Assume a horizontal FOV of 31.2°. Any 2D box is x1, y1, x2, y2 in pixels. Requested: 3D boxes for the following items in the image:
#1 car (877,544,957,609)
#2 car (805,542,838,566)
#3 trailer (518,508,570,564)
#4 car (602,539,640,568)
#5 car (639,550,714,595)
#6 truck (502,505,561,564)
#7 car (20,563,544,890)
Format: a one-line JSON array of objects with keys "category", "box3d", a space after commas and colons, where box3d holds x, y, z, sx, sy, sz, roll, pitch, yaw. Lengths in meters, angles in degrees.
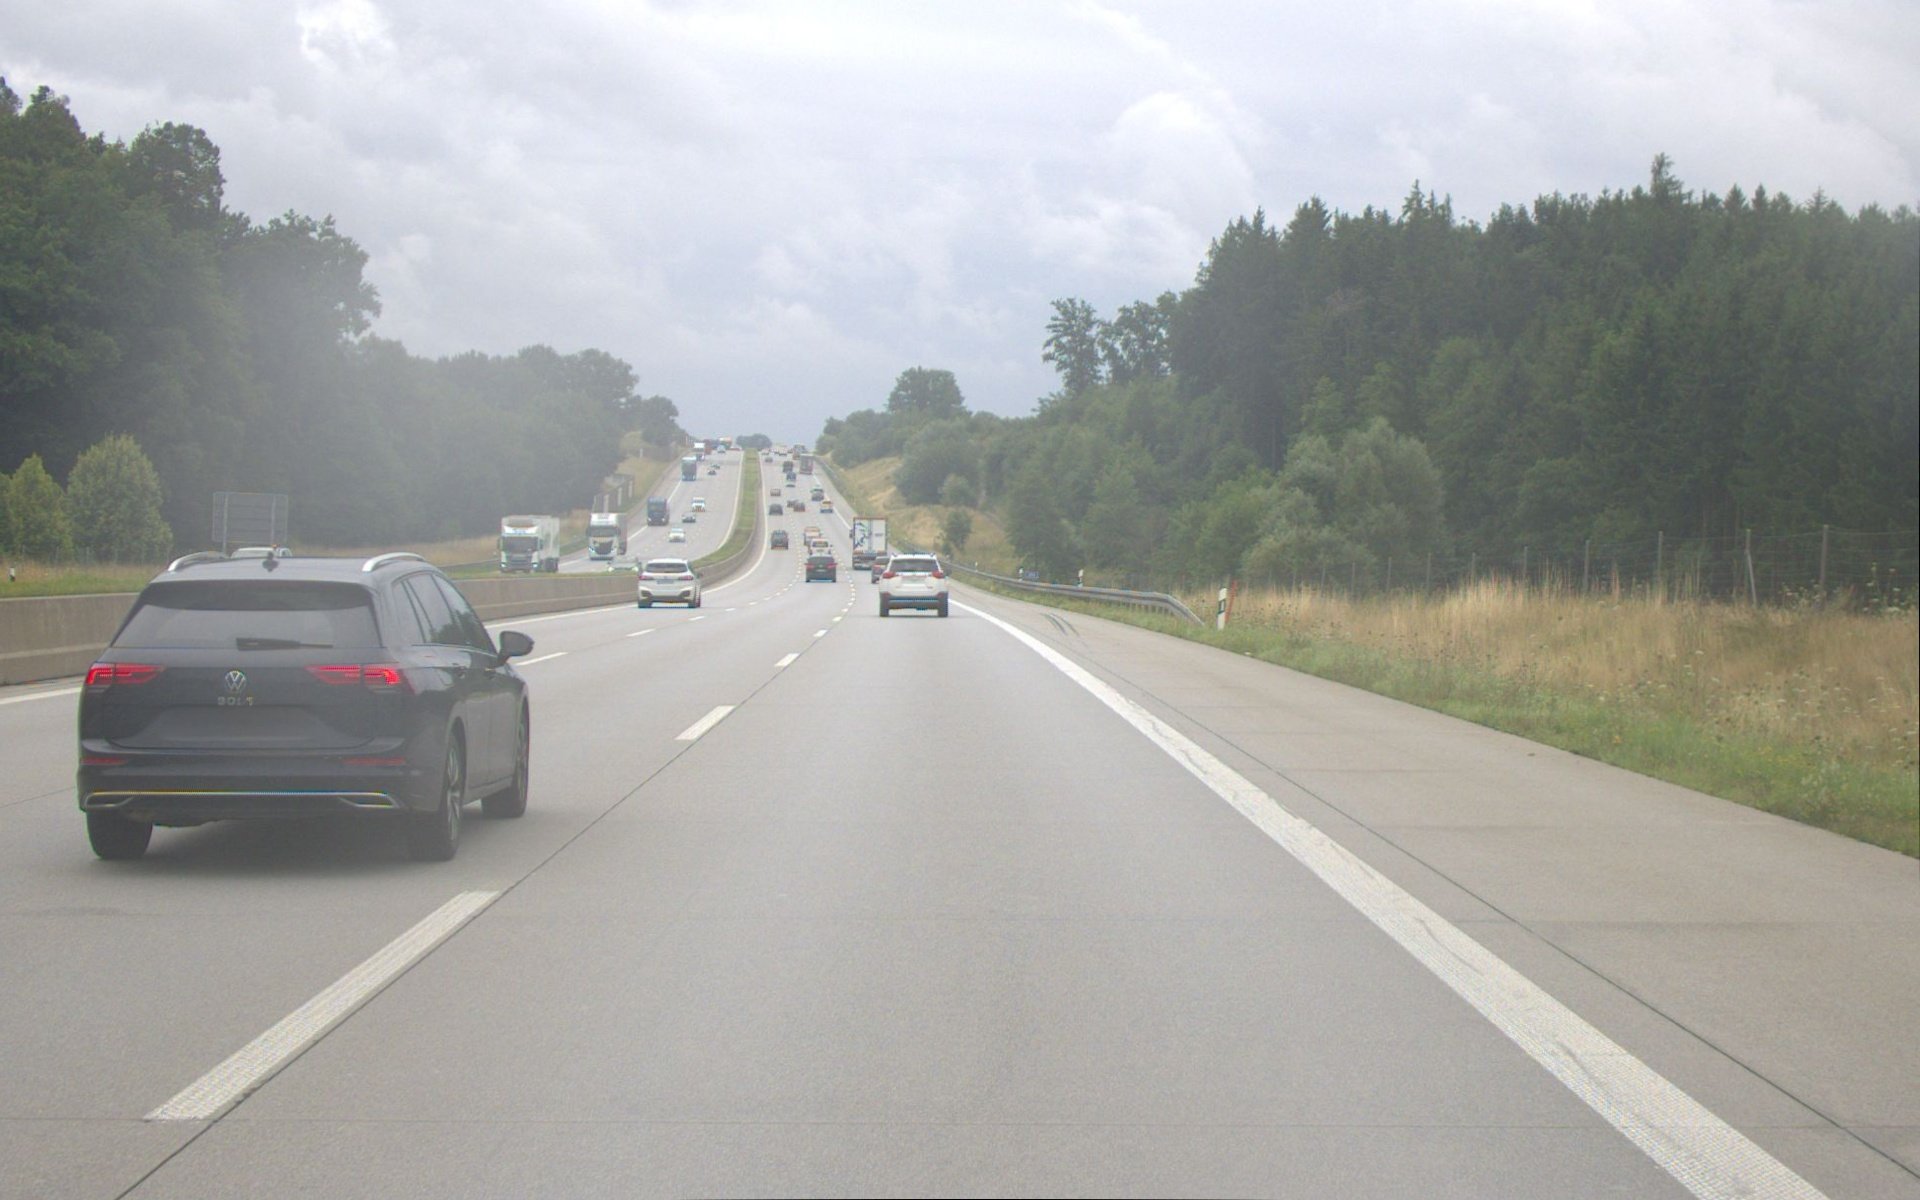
[{"category": "car", "box3d": [-1.160, -0.643, 91.015, 1.825, 1.650, 3.986, 2, 1, -5]}, {"category": "car", "box3d": [-8.486, -2.857, 210.793, 1.935, 1.370, 4.595, 1, 2, -2]}, {"category": "trailer", "box3d": [-28.830, -4.471, 238.661, 2.818, 3.770, 7.717, 1, 1, -2]}, {"category": "car", "box3d": [-19.930, -2.748, 202.155, 1.885, 1.582, 4.001, -3, 1, -2]}, {"category": "car", "box3d": [-8.930, -0.875, 108.572, 1.947, 1.351, 4.259, 1, 1, 0]}, {"category": "truck", "box3d": [-28.537, -4.332, 229.098, 2.813, 3.760, 11.352, 1, 1, -2]}, {"category": "car", "box3d": [-3.278, 0.537, 17.490, 1.752, 1.393, 4.484, 1, 1, 0]}]
